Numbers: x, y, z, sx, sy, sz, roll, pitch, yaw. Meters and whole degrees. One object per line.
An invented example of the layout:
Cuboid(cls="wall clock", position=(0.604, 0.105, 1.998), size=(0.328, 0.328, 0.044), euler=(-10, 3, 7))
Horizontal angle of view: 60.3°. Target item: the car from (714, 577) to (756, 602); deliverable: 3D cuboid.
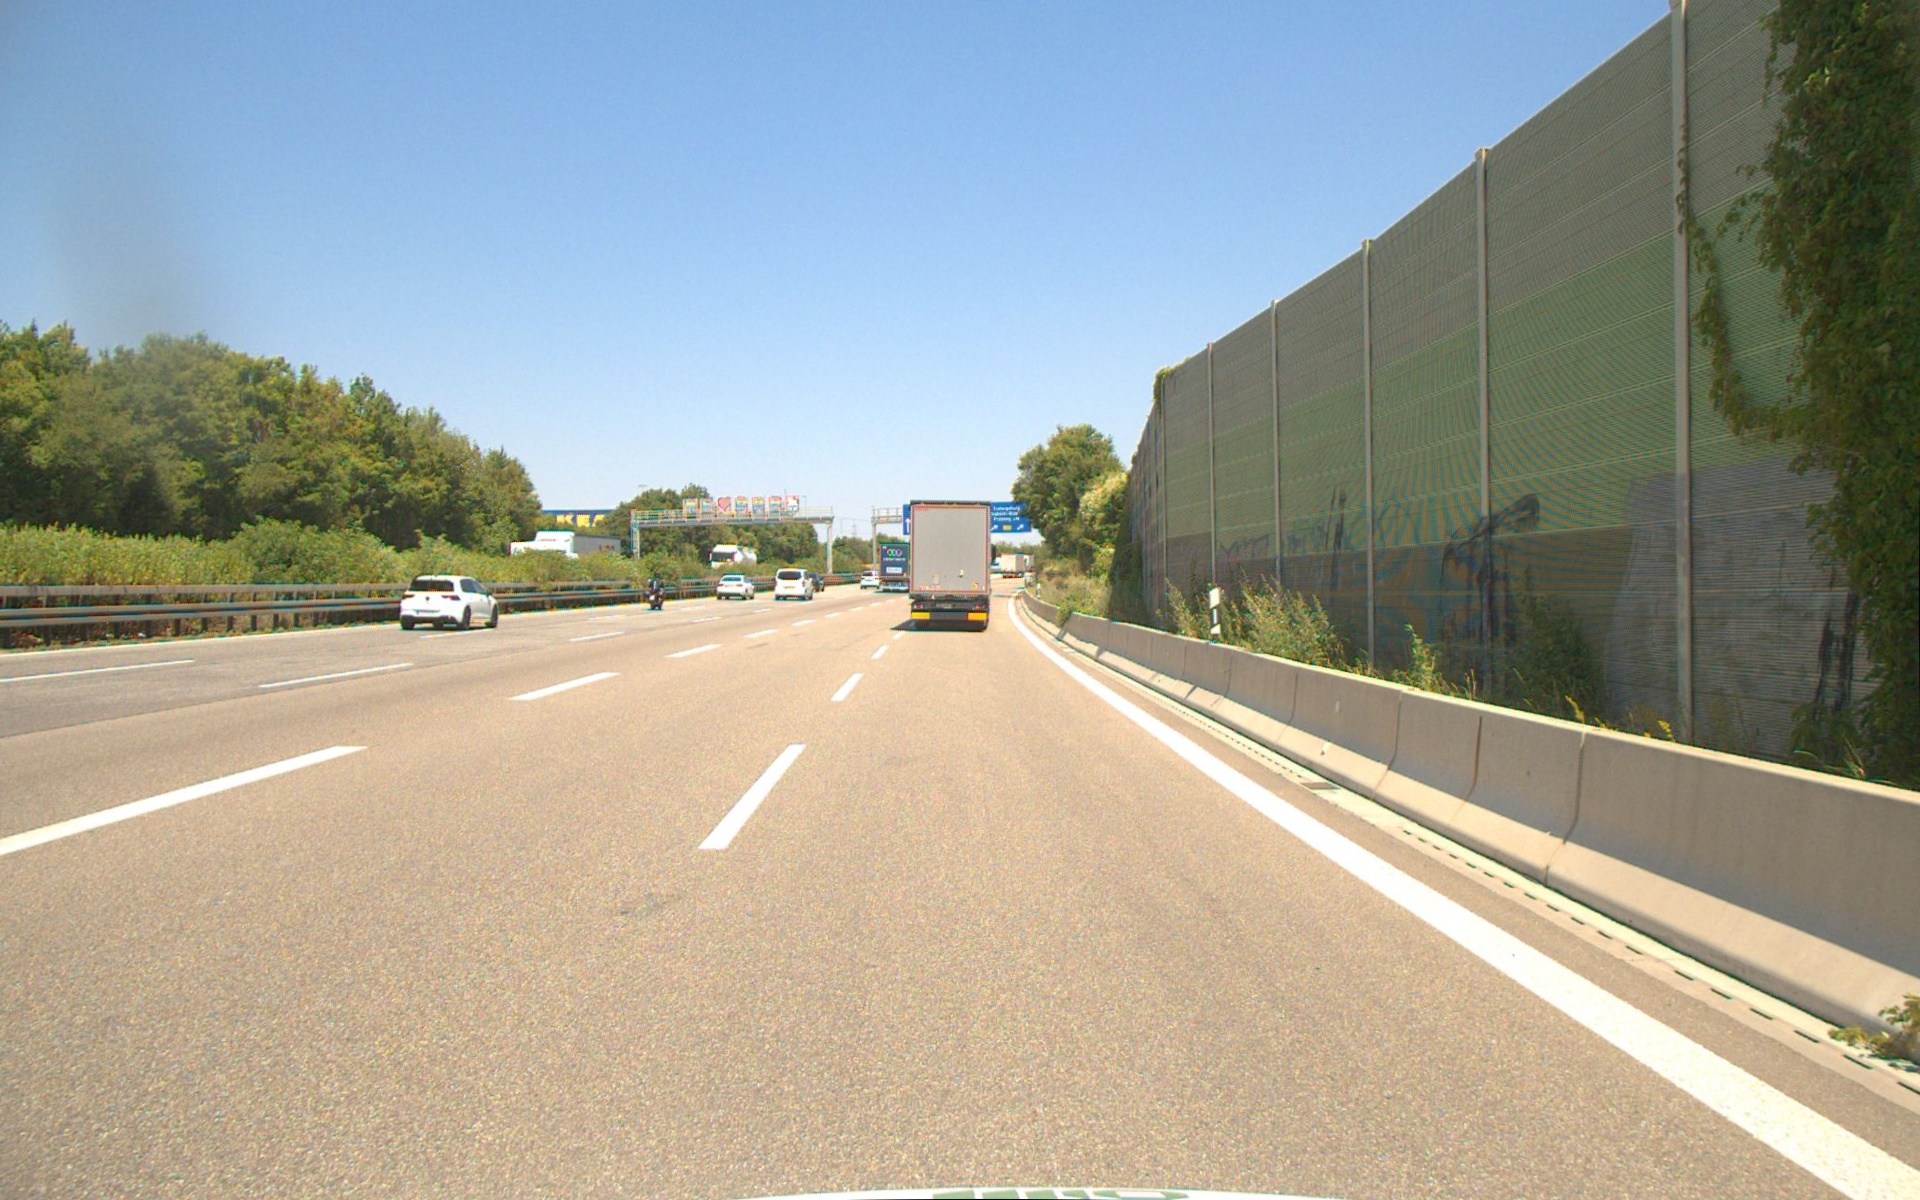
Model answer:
Cuboid(cls="car", position=(-13.648, -0.603, 100.592), size=(1.838, 1.466, 5.126), euler=(0, 0, 1))

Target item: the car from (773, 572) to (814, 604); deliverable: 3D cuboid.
Cuboid(cls="car", position=(-10.175, -0.698, 101.480), size=(1.890, 1.884, 4.693), euler=(-1, 0, 1))

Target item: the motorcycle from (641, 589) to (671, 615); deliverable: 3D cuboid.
Cuboid(cls="motorcycle", position=(-13.418, 0.082, 73.024), size=(0.894, 1.108, 2.848), euler=(0, 0, -2))

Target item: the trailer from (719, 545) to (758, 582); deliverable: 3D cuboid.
Cuboid(cls="trailer", position=(-24.620, -4.044, 184.227), size=(2.634, 3.956, 9.737), euler=(1, 1, 2))

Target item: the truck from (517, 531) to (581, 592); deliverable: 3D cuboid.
Cuboid(cls="truck", position=(-29.048, -2.712, 117.064), size=(3.264, 4.161, 4.829), euler=(1, 1, 0))

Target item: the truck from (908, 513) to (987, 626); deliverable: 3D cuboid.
Cuboid(cls="truck", position=(-0.517, -1.166, 64.142), size=(2.868, 4.085, 7.582), euler=(-1, 1, -1))

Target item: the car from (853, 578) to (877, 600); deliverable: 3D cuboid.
Cuboid(cls="car", position=(-8.789, -1.046, 152.819), size=(1.865, 1.884, 4.632), euler=(-1, 1, 1))

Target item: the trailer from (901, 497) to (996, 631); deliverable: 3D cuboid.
Cuboid(cls="trailer", position=(-0.450, -1.124, 56.747), size=(2.868, 4.085, 12.036), euler=(-1, 0, -1))

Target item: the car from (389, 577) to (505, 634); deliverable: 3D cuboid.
Cuboid(cls="car", position=(-14.035, 0.121, 45.534), size=(1.745, 1.465, 4.668), euler=(0, 1, 0))

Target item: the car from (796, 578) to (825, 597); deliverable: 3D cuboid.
Cuboid(cls="car", position=(-12.014, -1.012, 133.025), size=(1.720, 1.433, 5.041), euler=(-1, 1, 2))

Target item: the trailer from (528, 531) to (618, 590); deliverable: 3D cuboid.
Cuboid(cls="trailer", position=(-28.994, -2.883, 124.625), size=(3.322, 4.161, 13.928), euler=(1, 1, 1))

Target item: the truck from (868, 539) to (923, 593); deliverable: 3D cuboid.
Cuboid(cls="truck", position=(-5.398, -2.898, 141.550), size=(3.669, 4.344, 14.500), euler=(1, 1, 2))

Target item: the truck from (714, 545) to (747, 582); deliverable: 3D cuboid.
Cuboid(cls="truck", position=(-24.802, -3.944, 178.931), size=(2.639, 3.956, 5.747), euler=(1, 1, 2))

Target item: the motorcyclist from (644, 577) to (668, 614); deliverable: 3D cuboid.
Cuboid(cls="motorcyclist", position=(-13.423, -0.182, 73.092), size=(0.875, 1.625, 1.299), euler=(0, 0, -2))
